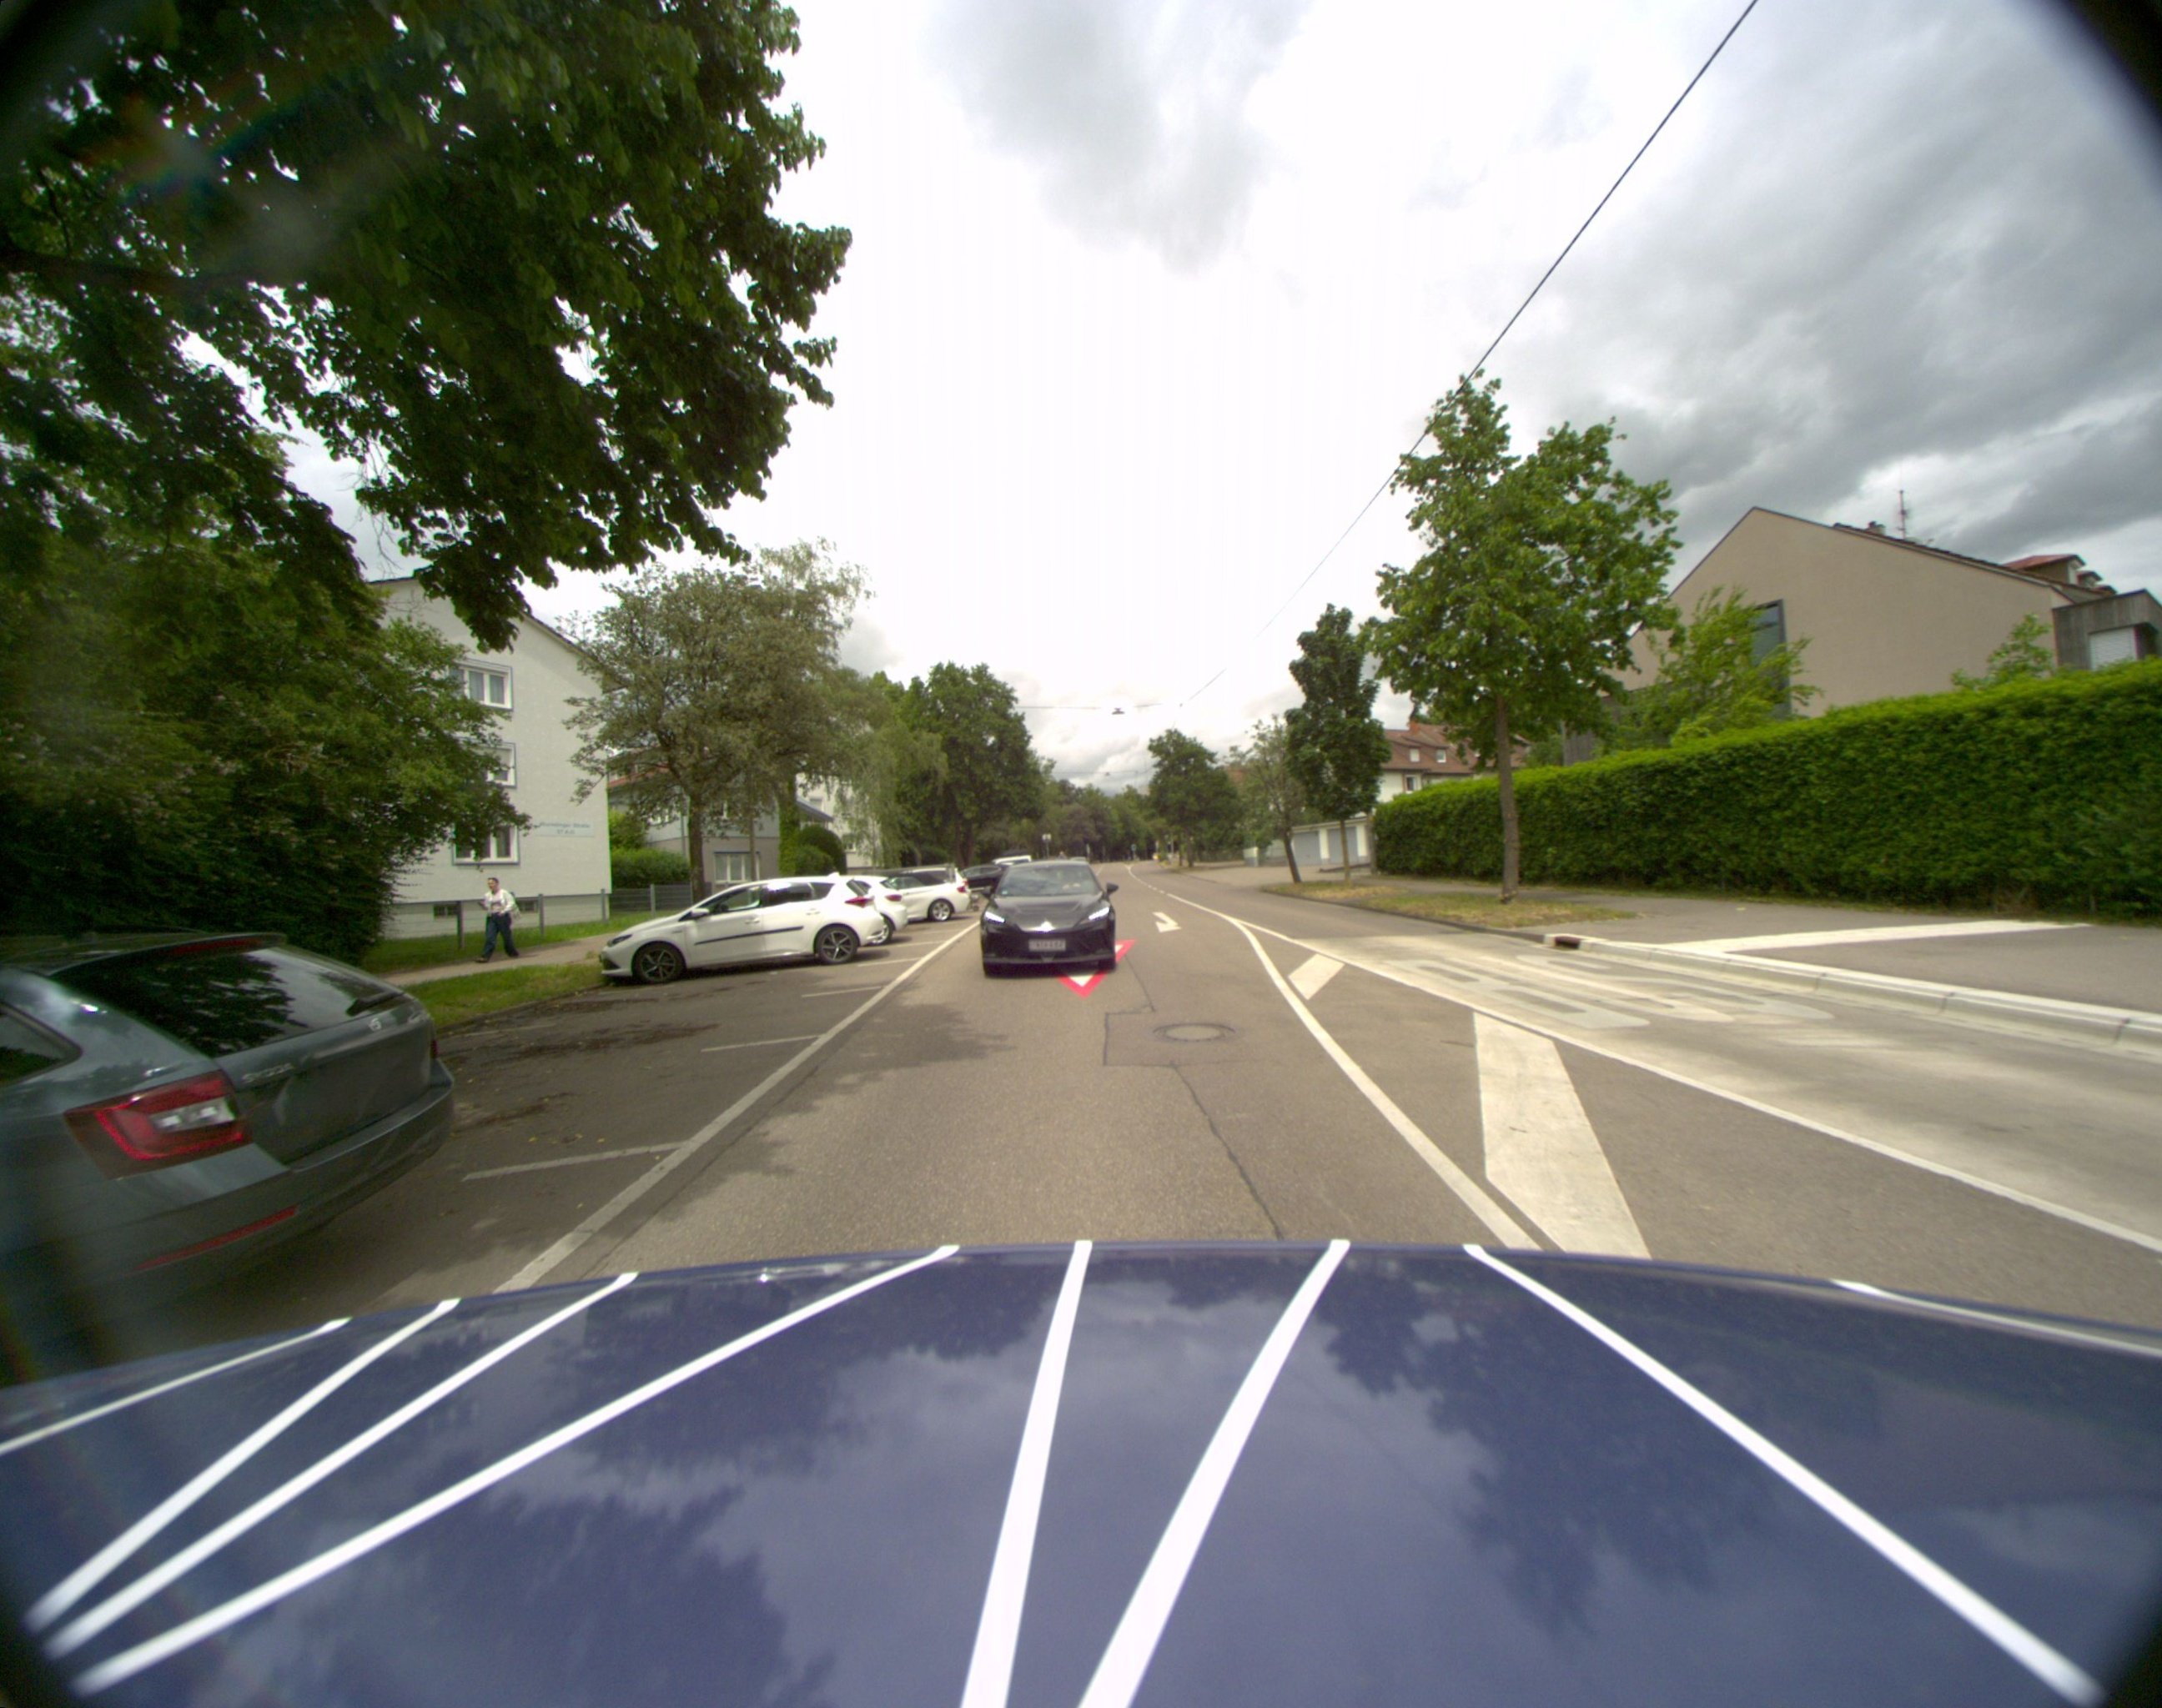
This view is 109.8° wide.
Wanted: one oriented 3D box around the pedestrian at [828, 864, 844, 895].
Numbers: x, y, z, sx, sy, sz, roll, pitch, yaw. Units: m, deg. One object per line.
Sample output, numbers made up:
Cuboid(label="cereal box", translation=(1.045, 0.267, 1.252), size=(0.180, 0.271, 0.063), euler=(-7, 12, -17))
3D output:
Cuboid(label="pedestrian", translation=(-12.362, 1.286, 38.348), size=(0.694, 1.495, 0.777), euler=(-3, 1, -18))

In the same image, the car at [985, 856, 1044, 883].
Cuboid(label="car", translation=(-4.711, 1.081, 53.604), size=(3.858, 1.634, 1.851), euler=(-4, 1, -12))

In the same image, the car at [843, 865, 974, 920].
Cuboid(label="car", translation=(-5.837, 1.241, 25.669), size=(4.003, 1.455, 1.788), euler=(-4, 1, -22))

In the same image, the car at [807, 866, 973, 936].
Cuboid(label="car", translation=(-5.200, 1.216, 20.674), size=(4.004, 1.455, 1.847), euler=(-4, 1, -25))

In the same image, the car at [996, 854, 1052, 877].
Cuboid(label="car", translation=(-4.274, 0.867, 56.405), size=(3.858, 1.426, 1.653), euler=(-4, 1, -12))

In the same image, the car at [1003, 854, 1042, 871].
Cuboid(label="car", translation=(-6.439, 0.947, 83.592), size=(3.860, 1.549, 1.653), euler=(-4, 1, -18))

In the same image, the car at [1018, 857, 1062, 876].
Cuboid(label="car", translation=(-3.997, 1.214, 73.769), size=(3.860, 1.603, 1.653), euler=(-4, 1, -18))

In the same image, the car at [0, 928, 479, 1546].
Cuboid(label="car", translation=(-4.800, 1.227, 2.347), size=(4.148, 1.455, 1.796), euler=(-4, 1, -17))

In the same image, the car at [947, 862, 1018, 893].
Cuboid(label="car", translation=(-5.413, 1.266, 41.798), size=(3.516, 1.455, 1.713), euler=(-4, 1, -18))

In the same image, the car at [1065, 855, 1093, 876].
Cuboid(label="car", translation=(-0.116, 0.855, 58.051), size=(1.860, 1.366, 4.076), euler=(-3, 0, 3))

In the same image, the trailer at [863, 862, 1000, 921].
Cuboid(label="trailer", translation=(-4.682, 1.113, 23.674), size=(4.002, 1.543, 1.657), euler=(-3, 0, -16))

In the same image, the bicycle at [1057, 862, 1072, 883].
Cuboid(label="bicycle", translation=(-1.008, 1.104, 46.785), size=(0.648, 1.230, 1.876), euler=(-3, 0, -9))

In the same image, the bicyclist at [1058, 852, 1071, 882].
Cuboid(label="bicyclist", translation=(-1.014, 0.800, 46.732), size=(0.647, 1.768, 0.627), euler=(-2, 1, -9))

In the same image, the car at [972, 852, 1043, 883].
Cuboid(label="car", translation=(-4.914, 0.900, 50.559), size=(4.226, 1.748, 1.856), euler=(-4, 1, -22))

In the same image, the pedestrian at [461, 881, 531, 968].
Cuboid(label="pedestrian", translation=(-11.555, 1.380, 15.018), size=(0.692, 1.634, 0.779), euler=(-3, 1, 21))

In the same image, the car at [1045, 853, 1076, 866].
Cuboid(label="car", translation=(-2.661, 0.744, 99.271), size=(3.856, 1.378, 1.654), euler=(-4, 1, -6))

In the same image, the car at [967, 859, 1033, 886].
Cuboid(label="car", translation=(-5.062, 1.129, 47.389), size=(3.858, 1.430, 1.714), euler=(-4, 1, -12))

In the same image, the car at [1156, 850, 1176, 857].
Cuboid(label="car", translation=(19.134, -0.181, 170.836), size=(4.006, 1.401, 1.796), euler=(-3, 0, -33))

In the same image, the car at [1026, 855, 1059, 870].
Cuboid(label="car", translation=(-4.753, 1.033, 93.792), size=(3.856, 1.553, 1.654), euler=(-4, 1, -6))

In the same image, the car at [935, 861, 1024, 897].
Cuboid(label="car", translation=(-4.939, 1.187, 36.919), size=(3.859, 1.426, 1.712), euler=(-4, 1, -23))

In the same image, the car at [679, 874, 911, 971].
Cuboid(label="car", translation=(-5.527, 1.279, 15.173), size=(4.001, 1.455, 1.794), euler=(-4, 1, -15))

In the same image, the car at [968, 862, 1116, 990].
Cuboid(label="car", translation=(-0.441, 0.929, 11.486), size=(1.813, 1.484, 3.793), euler=(-2, 1, 1))

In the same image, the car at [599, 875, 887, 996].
Cuboid(label="car", translation=(-5.369, 1.235, 12.605), size=(4.002, 1.455, 1.863), euler=(-4, 1, -17))
